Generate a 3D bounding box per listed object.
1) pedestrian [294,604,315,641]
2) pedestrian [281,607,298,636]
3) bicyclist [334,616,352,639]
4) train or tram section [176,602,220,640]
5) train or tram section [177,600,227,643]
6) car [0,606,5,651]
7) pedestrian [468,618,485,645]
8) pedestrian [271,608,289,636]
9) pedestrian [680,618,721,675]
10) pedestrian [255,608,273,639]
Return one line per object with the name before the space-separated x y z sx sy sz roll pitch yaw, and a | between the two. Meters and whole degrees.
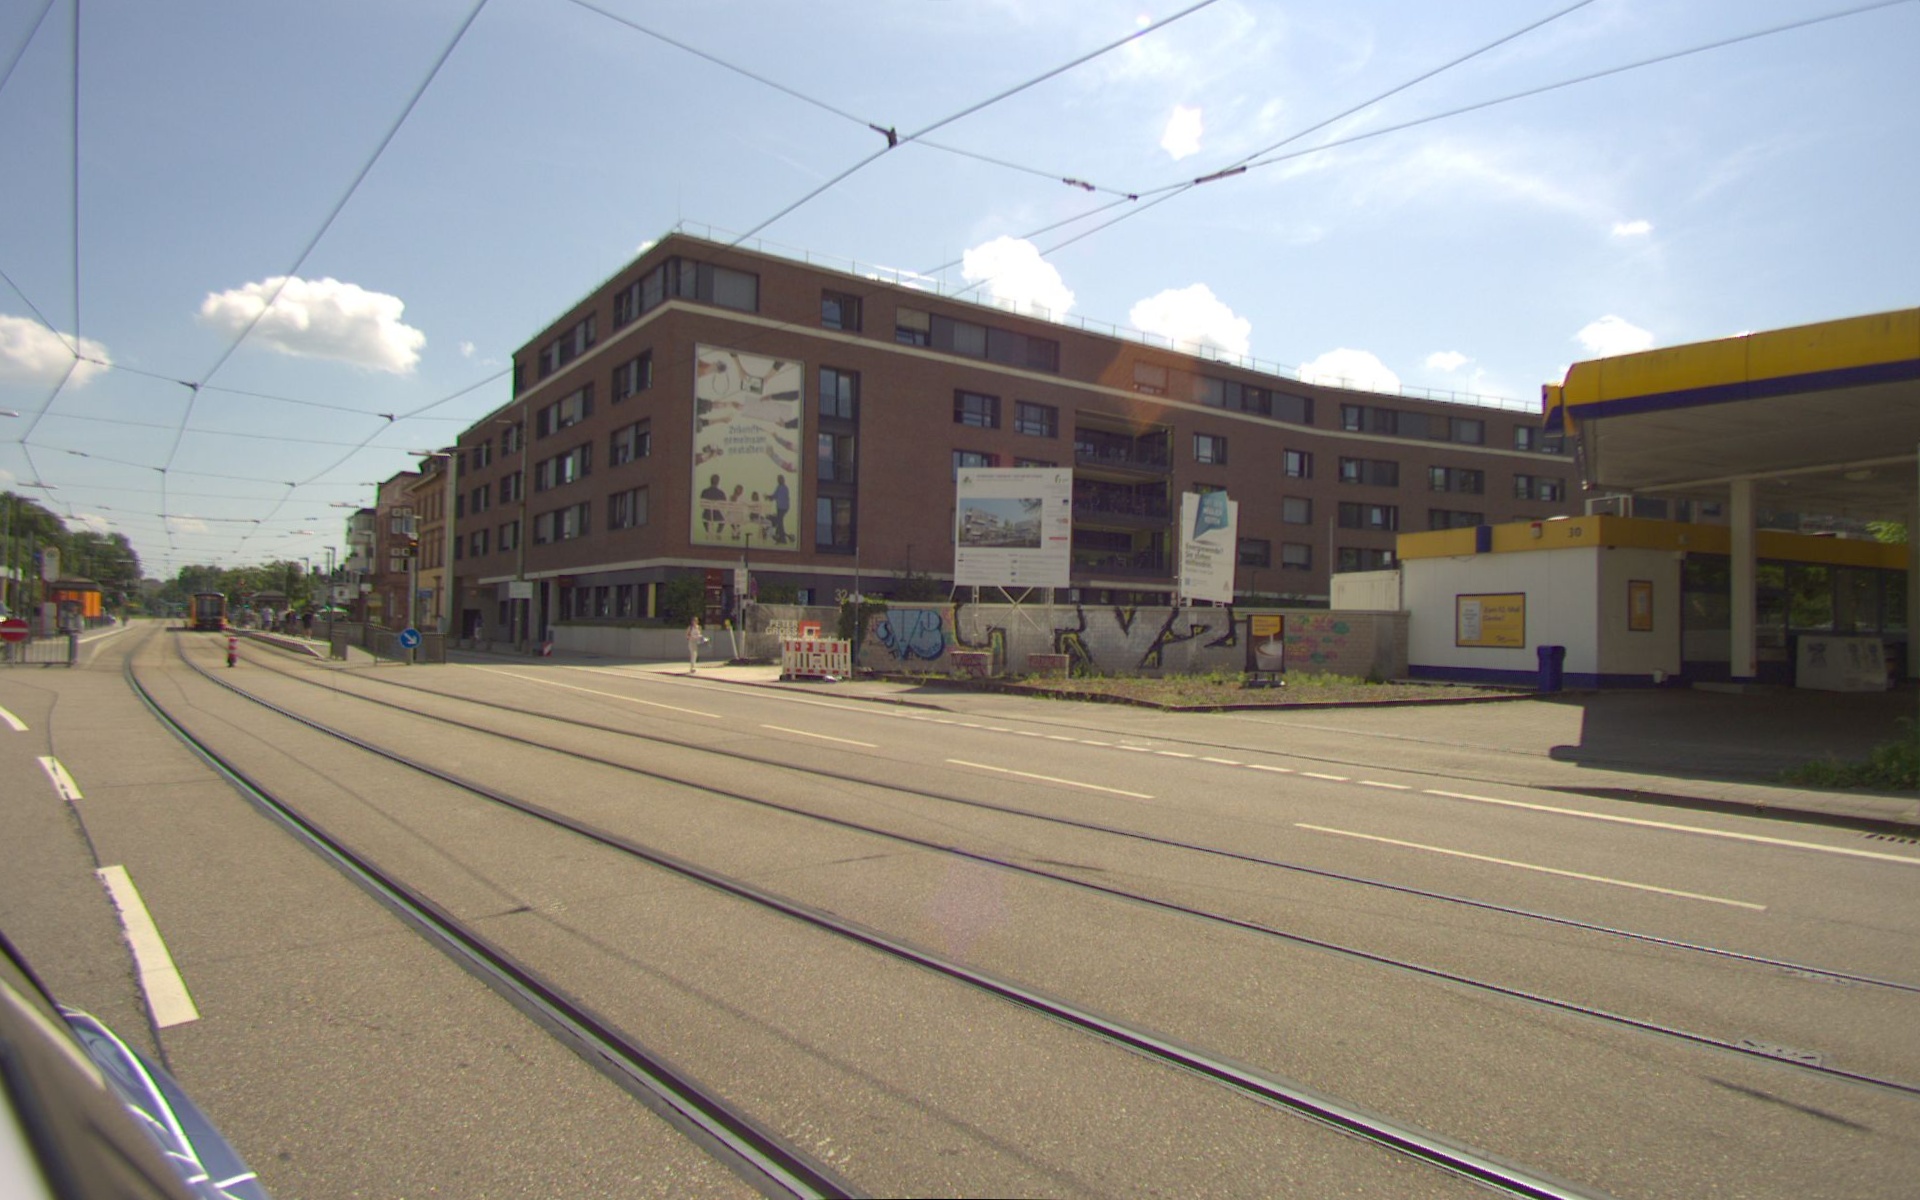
pedestrian | -31.745 1.099 49.032 0.676 1.773 1.035 3 -3 -39
pedestrian | -37.848 1.241 57.133 0.676 1.608 0.762 4 -3 -39
bicyclist | -40.649 1.824 66.634 0.749 1.516 1.066 3 -3 -44
train or tram section | -81.274 2.187 107.692 3.208 3.594 20.542 3 -2 -38
train or tram section | -69.846 1.953 93.120 3.193 3.594 16.382 3 -2 -38
car | -44.278 1.272 45.260 1.968 2.029 4.006 3 -2 -40
pedestrian | -29.437 1.915 61.599 0.676 1.608 0.762 4 -3 -39
pedestrian | -41.495 1.345 61.774 0.750 1.708 0.810 4 -3 -39
pedestrian | -7.713 1.368 30.038 0.751 1.608 1.001 -2 1 -43
pedestrian | -42.322 1.423 61.564 0.750 1.813 0.953 3 -3 -39
